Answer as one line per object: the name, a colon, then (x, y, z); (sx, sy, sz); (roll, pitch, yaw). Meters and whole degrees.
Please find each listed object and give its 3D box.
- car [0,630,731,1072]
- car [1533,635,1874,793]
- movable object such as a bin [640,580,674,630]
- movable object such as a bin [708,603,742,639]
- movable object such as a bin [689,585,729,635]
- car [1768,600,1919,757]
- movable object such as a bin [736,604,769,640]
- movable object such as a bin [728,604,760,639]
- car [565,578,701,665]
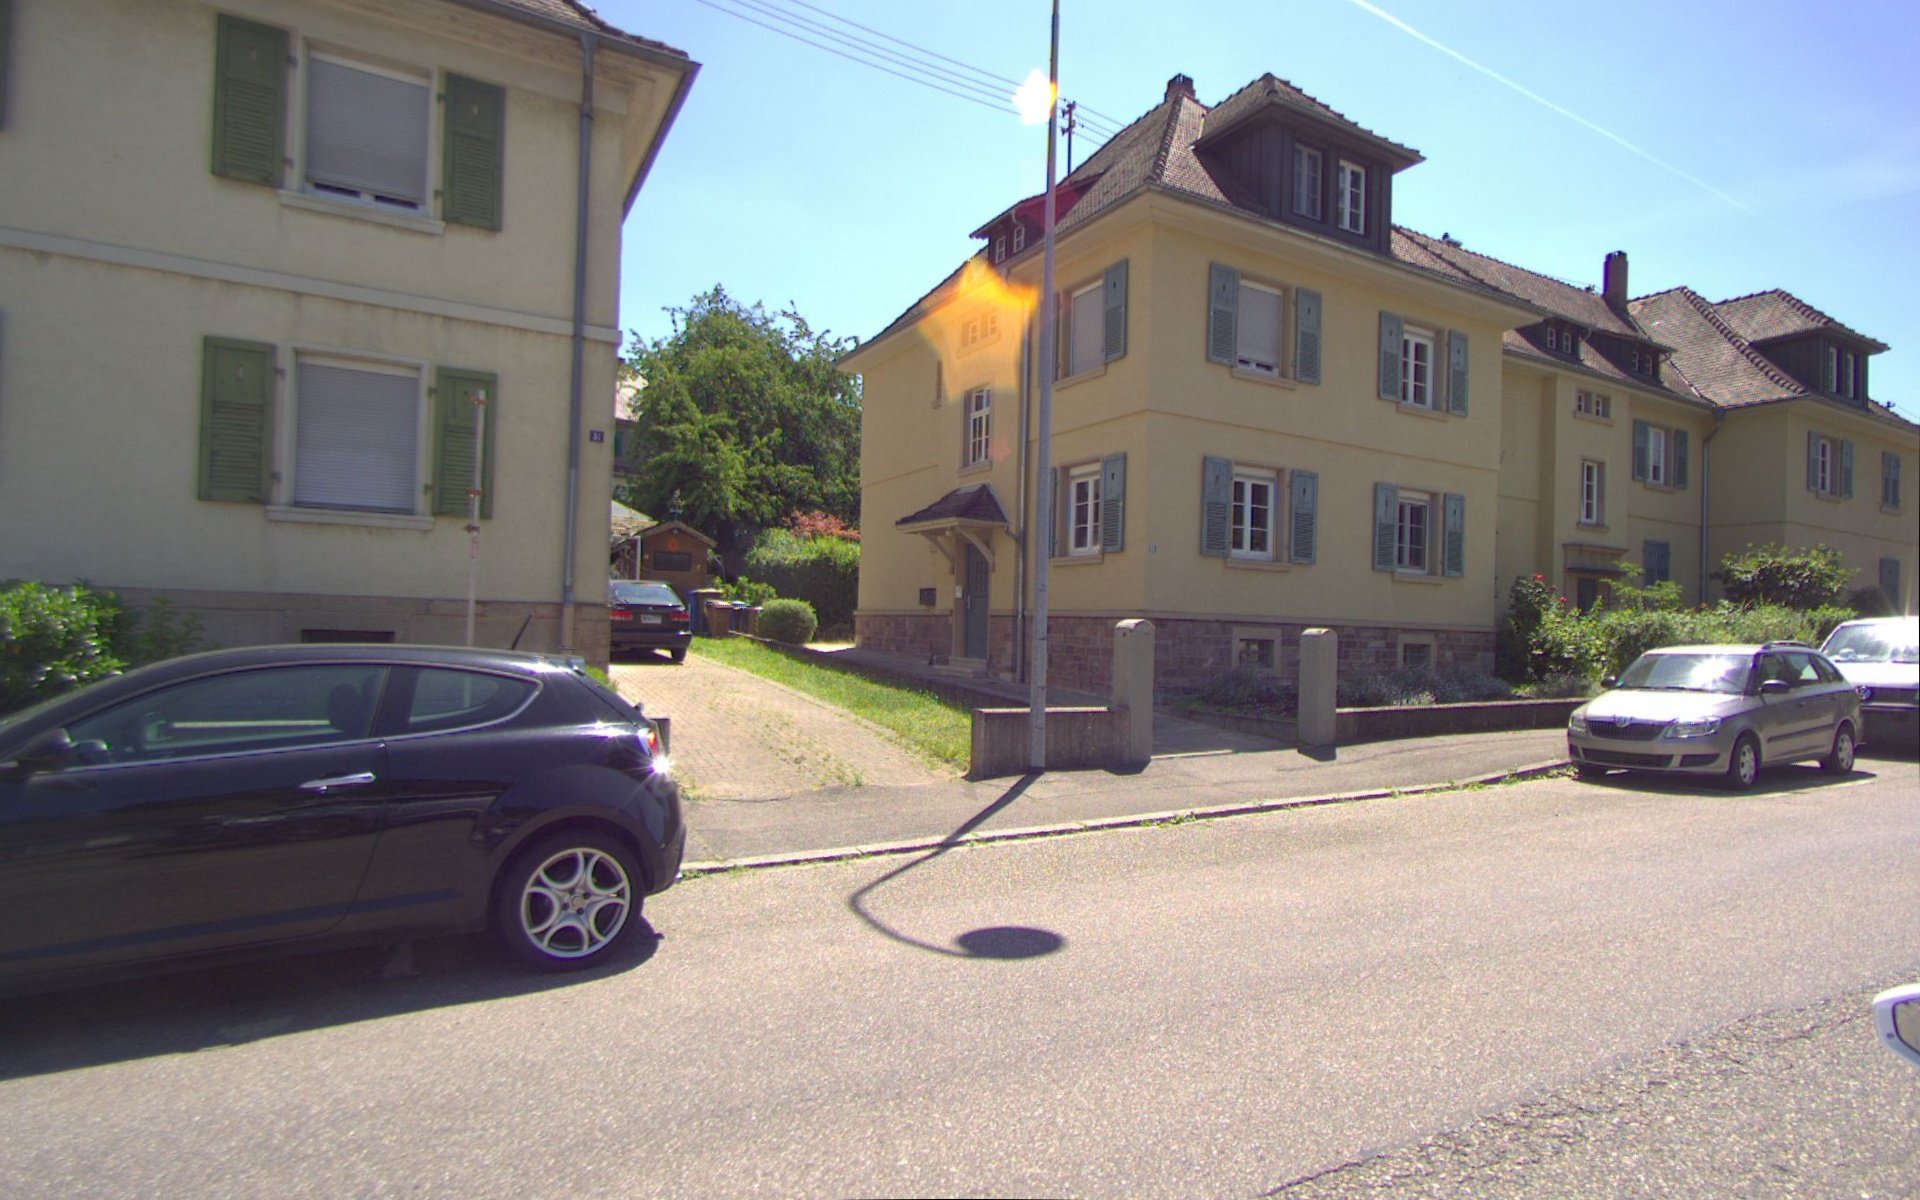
car: (-3.255, 0.912, 4.467); (4.030, 1.504, 1.707); (3, -3, -31)
car: (8.610, 1.206, 11.571); (4.014, 1.545, 1.679); (2, -4, -30)
movable object such as a bin: (-7.789, 0.145, 25.810); (0.712, 1.247, 0.775); (2, -1, -25)
movable object such as a bin: (-5.789, 0.518, 24.749); (0.660, 0.875, 0.618); (2, -1, -27)
movable object such as a bin: (-6.458, 0.272, 25.811); (0.822, 1.247, 0.841); (2, -1, -27)
car: (13.899, 1.095, 14.562); (4.572, 1.988, 1.869); (2, -4, -31)
movable object such as a bin: (-5.200, 0.545, 25.190); (0.660, 0.875, 0.618); (2, -1, -27)
movable object such as a bin: (-5.572, 0.554, 25.876); (0.660, 0.875, 0.618); (2, -1, -27)
car: (-6.277, 0.367, 19.036); (1.646, 1.483, 3.676); (2, 0, -31)
